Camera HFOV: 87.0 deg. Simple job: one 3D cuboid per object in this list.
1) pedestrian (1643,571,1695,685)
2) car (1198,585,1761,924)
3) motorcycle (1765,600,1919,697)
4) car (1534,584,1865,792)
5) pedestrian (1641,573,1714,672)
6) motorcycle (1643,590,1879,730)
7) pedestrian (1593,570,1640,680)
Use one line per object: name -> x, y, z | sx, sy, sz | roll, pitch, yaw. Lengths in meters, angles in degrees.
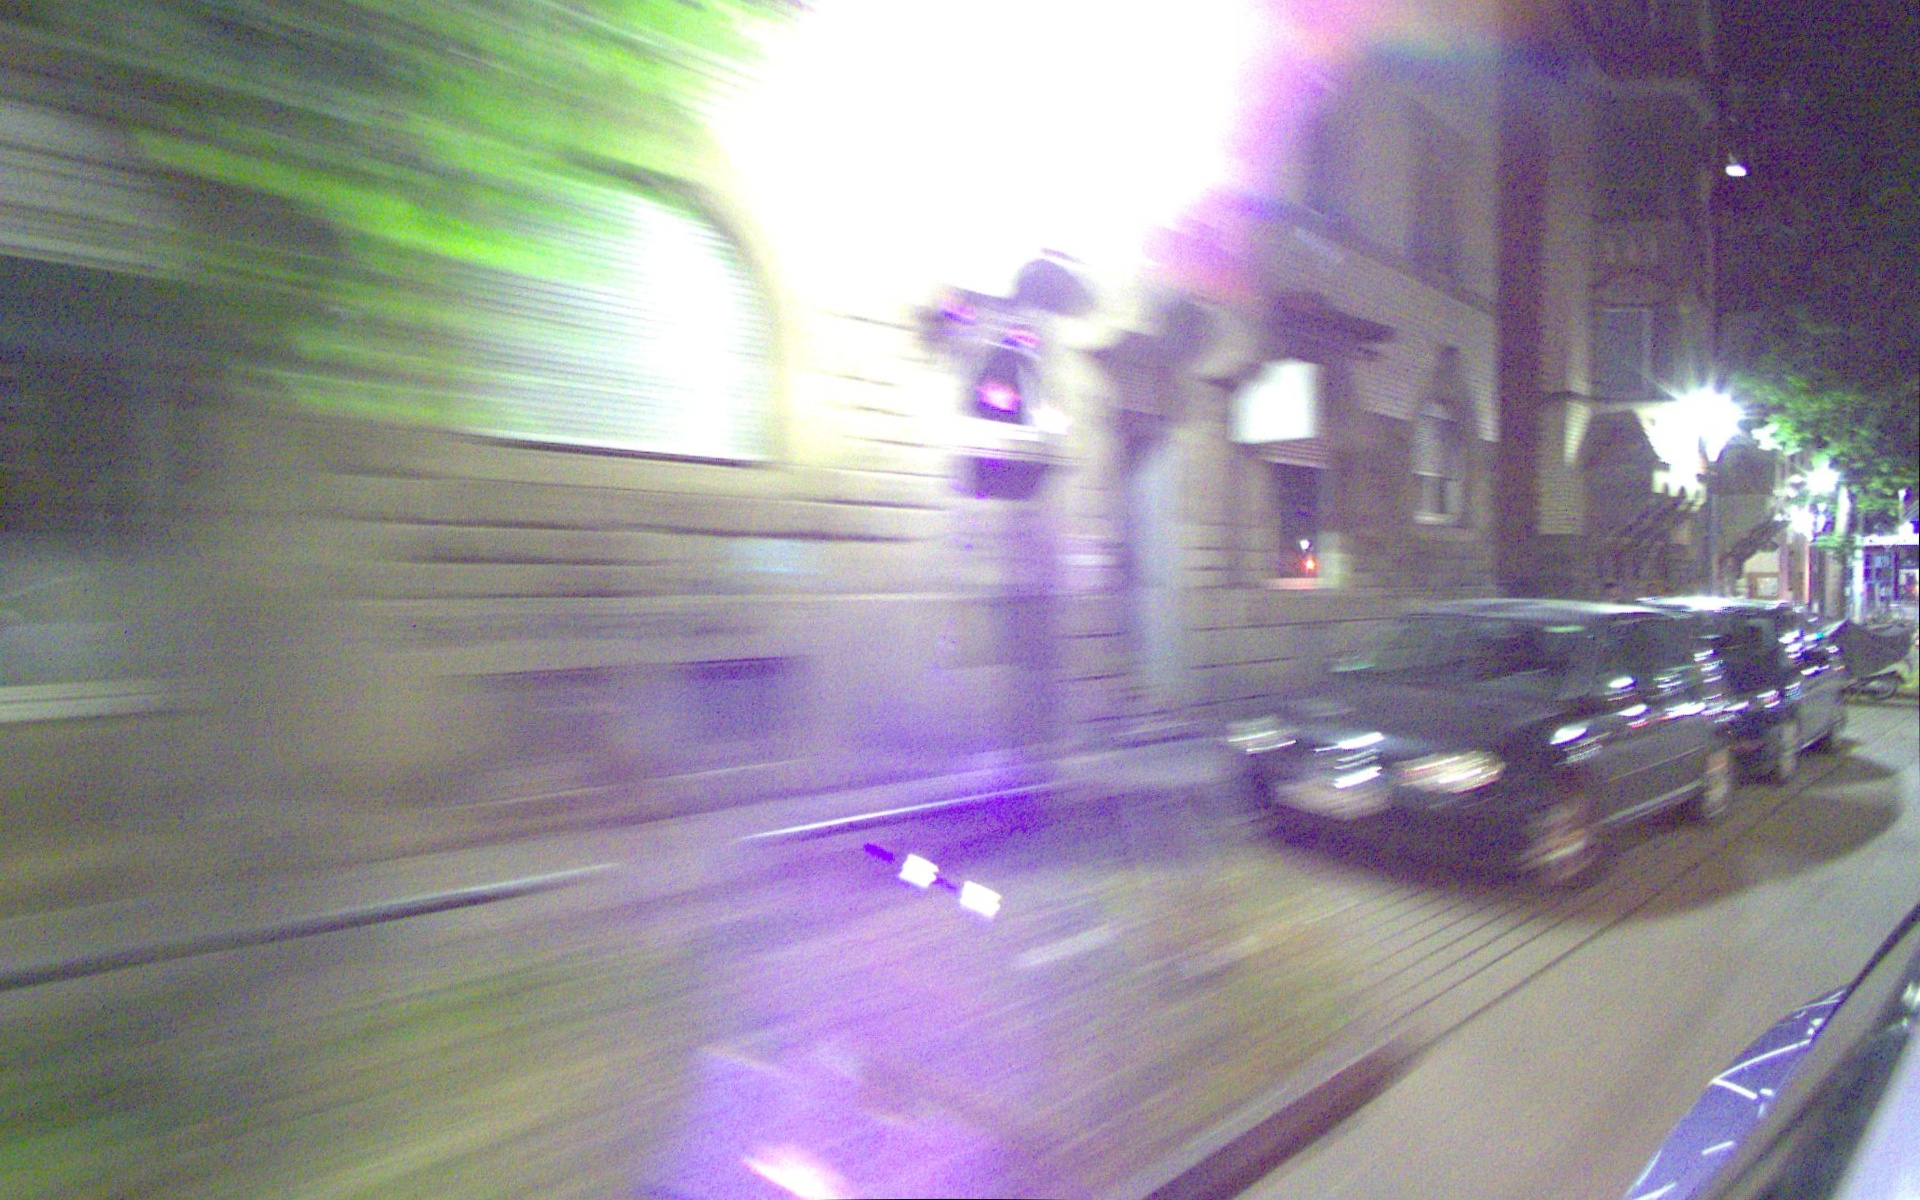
pedestrian -> 11.064, 0.415, 15.790 | 0.692, 1.730, 0.507 | 0, 0, -41
car -> 3.418, 0.656, 6.348 | 3.928, 1.472, 1.740 | 0, 1, -40
motorcycle -> 13.301, 0.693, 15.048 | 1.915, 1.370, 0.760 | 1, 0, 14
car -> 7.133, 0.619, 9.571 | 4.392, 1.520, 1.734 | -1, 1, -43
pedestrian -> 12.422, 0.377, 17.520 | 0.949, 1.652, 0.808 | 0, -1, -40
motorcycle -> 9.244, 0.627, 11.766 | 2.050, 1.423, 0.911 | 3, 2, 40
pedestrian -> 10.510, 0.386, 16.195 | 0.561, 1.730, 0.477 | 0, 0, -41
